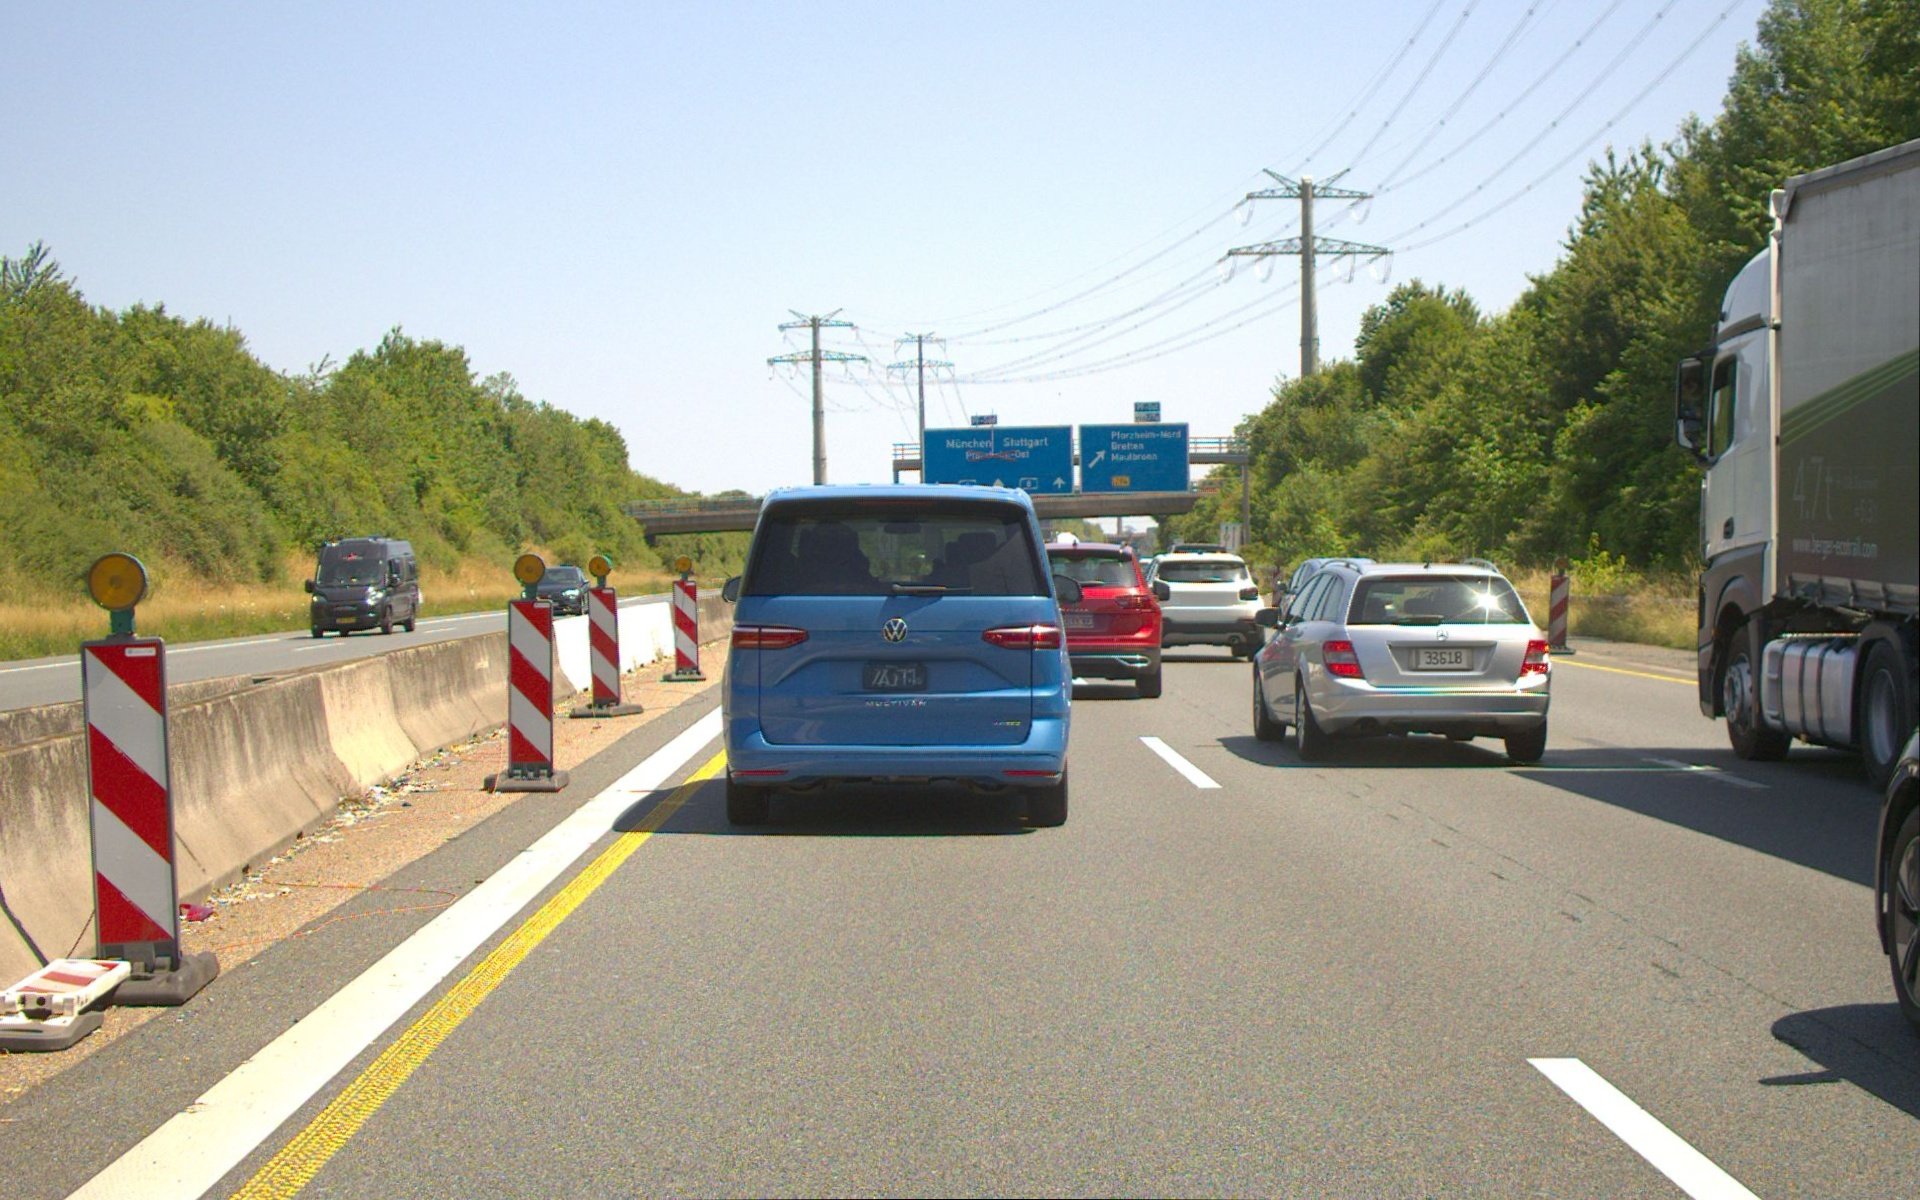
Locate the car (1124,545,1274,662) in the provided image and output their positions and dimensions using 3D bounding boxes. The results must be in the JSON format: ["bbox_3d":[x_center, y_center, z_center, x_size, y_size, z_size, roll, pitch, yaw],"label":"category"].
[{"bbox_3d":[3.409,0.025,49.700,1.797,1.588,4.227,1,1,-1],"label":"car"}]

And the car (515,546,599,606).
[{"bbox_3d":[-12.025,-0.737,102.814,1.993,1.678,4.153,-3,1,-1],"label":"car"}]

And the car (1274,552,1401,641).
[{"bbox_3d":[6.435,-0.076,58.925,1.701,1.443,3.788,1,1,-1],"label":"car"}]

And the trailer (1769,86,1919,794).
[{"bbox_3d":[6.938,-0.862,16.161,2.783,4.033,13.113,1,1,-2],"label":"trailer"}]

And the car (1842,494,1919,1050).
[{"bbox_3d":[3.749,0.538,8.818,1.700,1.649,4.430,1,1,-2],"label":"car"}]

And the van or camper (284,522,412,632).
[{"bbox_3d":[-16.320,-0.635,92.024,2.222,2.701,7.081,-3,1,-2],"label":"van or camper"}]

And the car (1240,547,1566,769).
[{"bbox_3d":[3.245,0.377,25.969,1.770,1.512,4.360,1,1,-1],"label":"car"}]

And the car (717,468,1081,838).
[{"bbox_3d":[-0.371,0.255,20.139,1.874,1.905,4.360,1,1,-1],"label":"car"}]

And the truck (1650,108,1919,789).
[{"bbox_3d":[6.737,-0.909,23.315,2.733,4.033,5.794,1,1,-2],"label":"truck"}]

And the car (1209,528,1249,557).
[{"bbox_3d":[15.762,-3.369,201.581,1.874,1.665,4.360,1,1,-1],"label":"car"}]

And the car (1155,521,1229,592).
[{"bbox_3d":[6.773,-1.262,100.624,1.797,2.007,4.227,1,1,-1],"label":"car"}]

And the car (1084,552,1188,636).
[{"bbox_3d":[3.489,-0.138,68.843,1.797,1.588,4.227,1,1,-1],"label":"car"}]

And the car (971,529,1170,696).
[{"bbox_3d":[1.128,0.100,36.990,1.874,1.665,4.360,1,1,-1],"label":"car"}]
